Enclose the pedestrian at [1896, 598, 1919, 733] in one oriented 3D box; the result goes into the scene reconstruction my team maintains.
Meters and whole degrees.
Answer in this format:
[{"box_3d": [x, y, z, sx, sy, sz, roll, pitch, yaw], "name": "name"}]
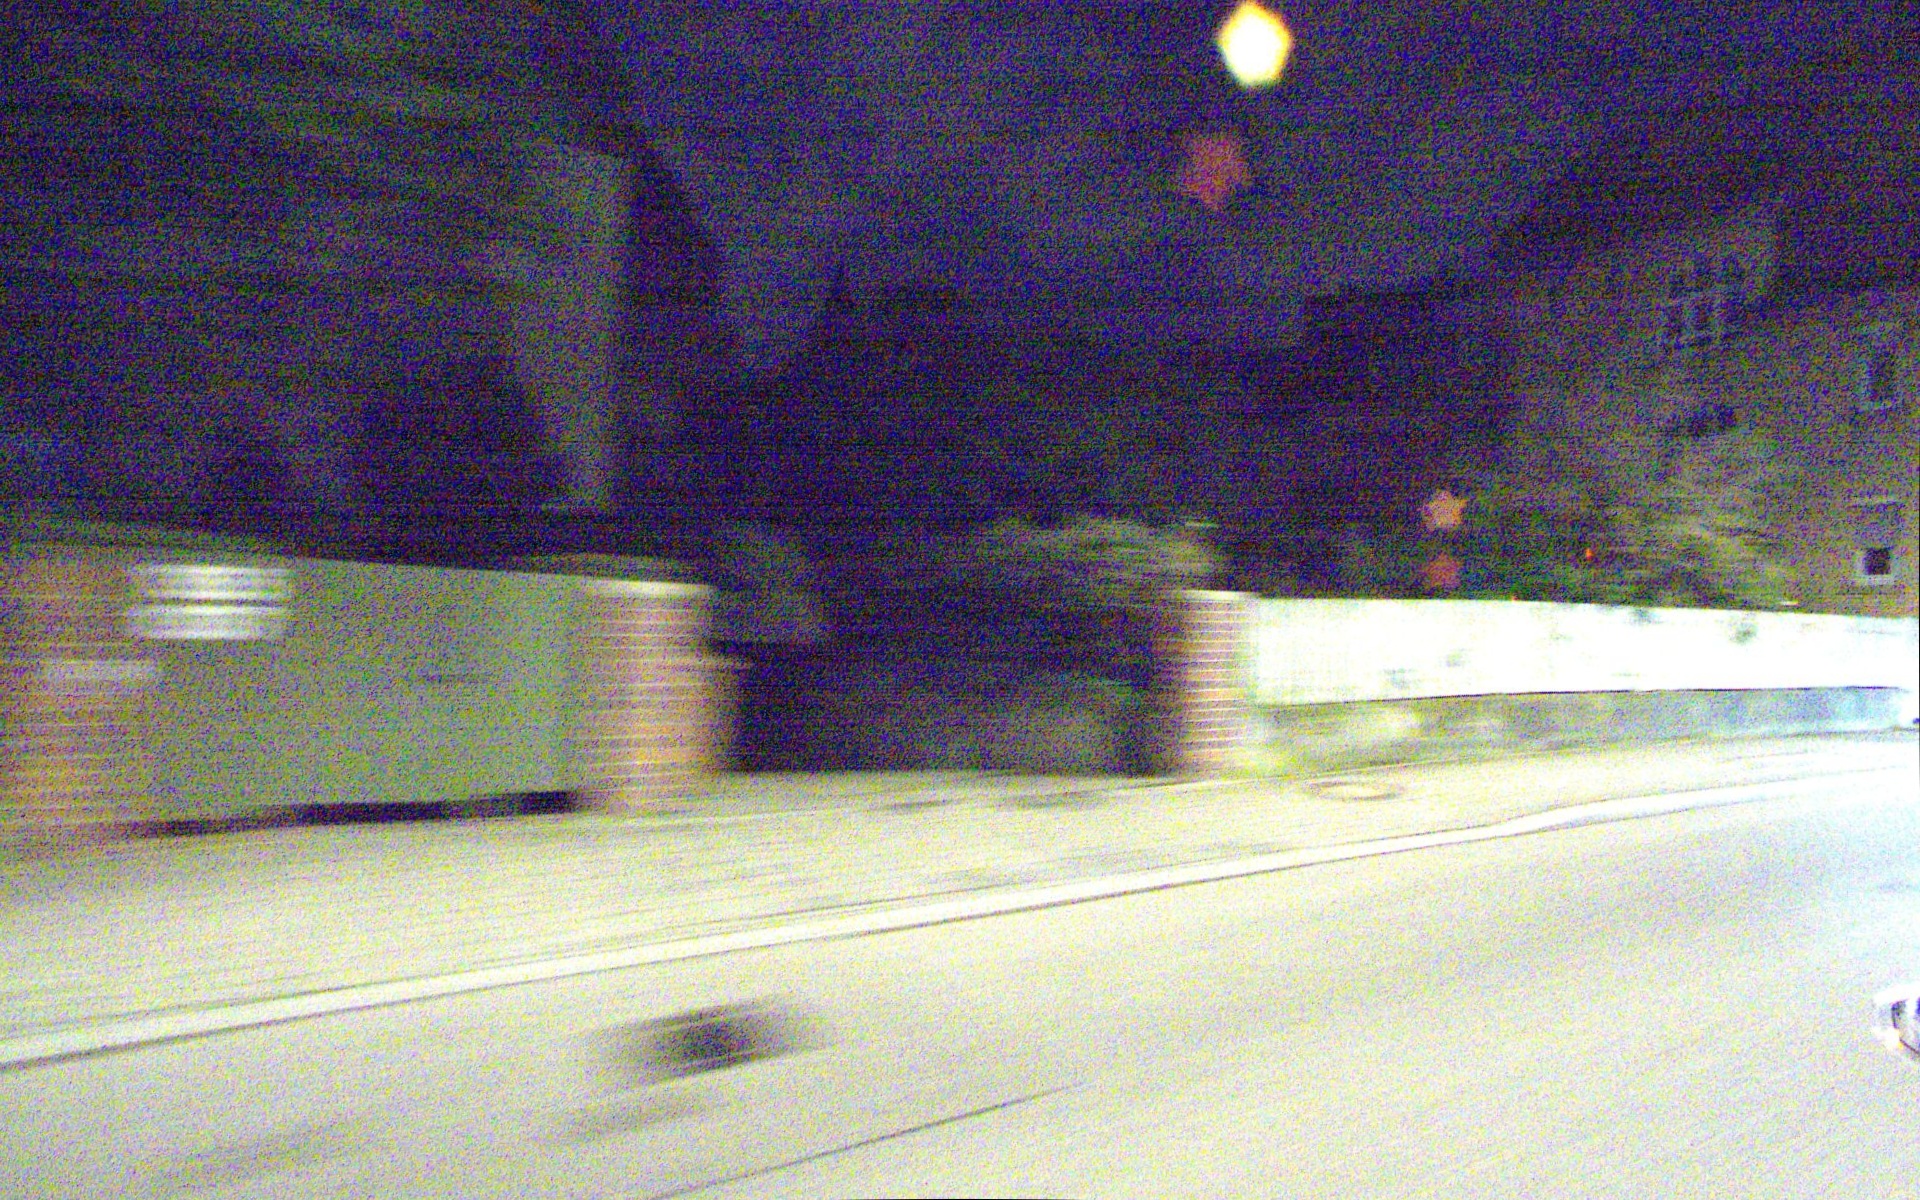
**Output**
[{"box_3d": [13.080, 0.866, 13.258, 1.089, 1.768, 0.739, 2, -1, -28], "name": "pedestrian"}]
